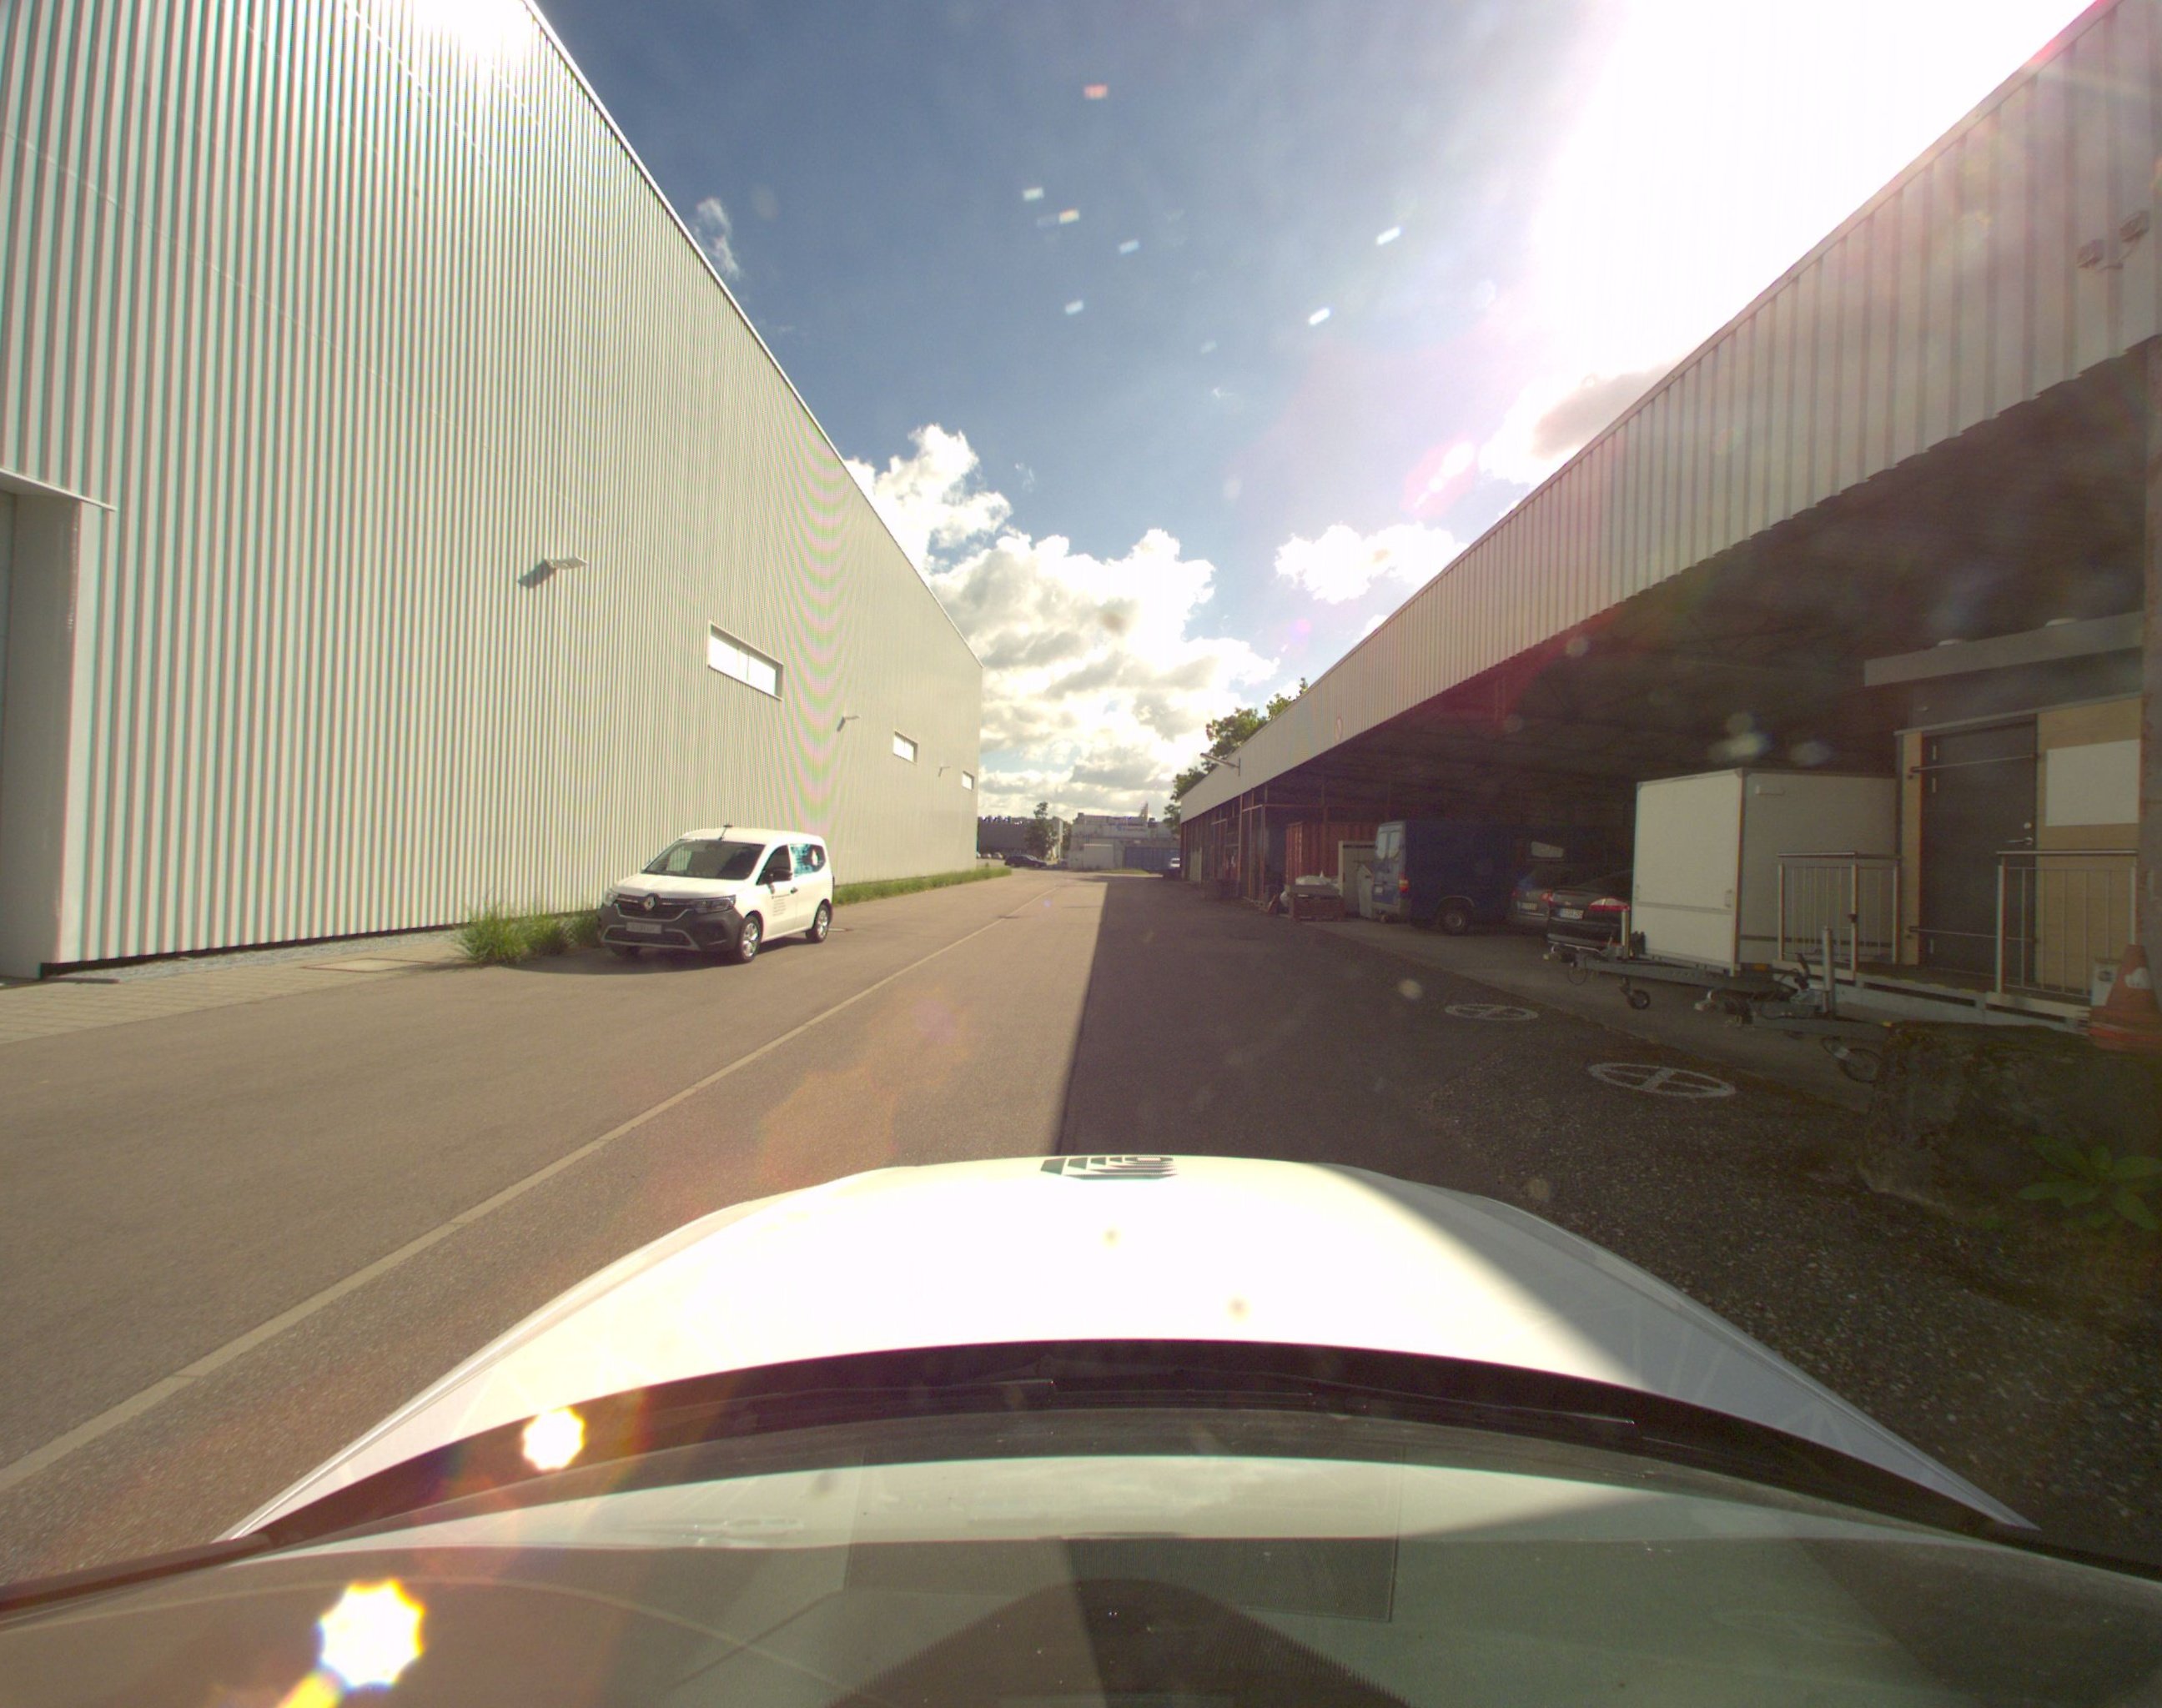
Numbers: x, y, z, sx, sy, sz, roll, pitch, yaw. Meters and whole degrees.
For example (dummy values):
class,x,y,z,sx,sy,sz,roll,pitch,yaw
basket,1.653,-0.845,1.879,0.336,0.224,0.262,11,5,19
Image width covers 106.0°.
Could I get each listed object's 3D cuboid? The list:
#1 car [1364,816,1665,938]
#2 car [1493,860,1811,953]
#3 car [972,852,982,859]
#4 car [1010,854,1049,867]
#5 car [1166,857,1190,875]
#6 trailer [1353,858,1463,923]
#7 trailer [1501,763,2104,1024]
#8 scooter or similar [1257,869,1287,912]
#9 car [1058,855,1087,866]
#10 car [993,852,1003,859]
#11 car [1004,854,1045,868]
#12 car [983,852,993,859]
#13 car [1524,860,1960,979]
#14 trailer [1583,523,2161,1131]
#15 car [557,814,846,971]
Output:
class,x,y,z,sx,sy,sz,roll,pitch,yaw
car,8.861,0.450,17.021,5.198,2.297,2.084,1,-1,1
car,9.495,0.836,13.802,4.092,1.454,1.851,0,-1,1
car,-24.424,0.295,191.766,1.871,1.689,4.034,0,-1,0
car,-6.136,0.805,97.641,4.512,1.443,1.904,2,-2,2
car,9.705,1.175,81.451,1.973,1.593,4.342,2,1,2
trailer,7.832,0.849,19.644,2.084,1.462,1.643,1,-1,5
trailer,6.922,0.355,8.202,4.524,2.335,1.689,0,0,2
scooter or similar,5.351,1.008,22.872,0.518,1.134,1.593,1,-1,2
car,-1.243,0.985,122.042,4.263,1.569,1.988,2,-2,2
car,-19.544,0.377,191.737,1.871,1.537,4.034,0,-1,0
car,-6.485,0.786,94.387,4.512,1.443,1.988,2,-2,2
car,-21.871,0.372,191.562,1.871,1.537,4.034,0,-1,0
car,8.506,0.796,10.764,4.332,1.433,1.864,0,-1,-2
trailer,9.462,-0.146,5.628,10.252,3.295,2.677,0,0,2
car,-5.249,0.467,12.131,1.921,1.790,4.600,3,0,2
